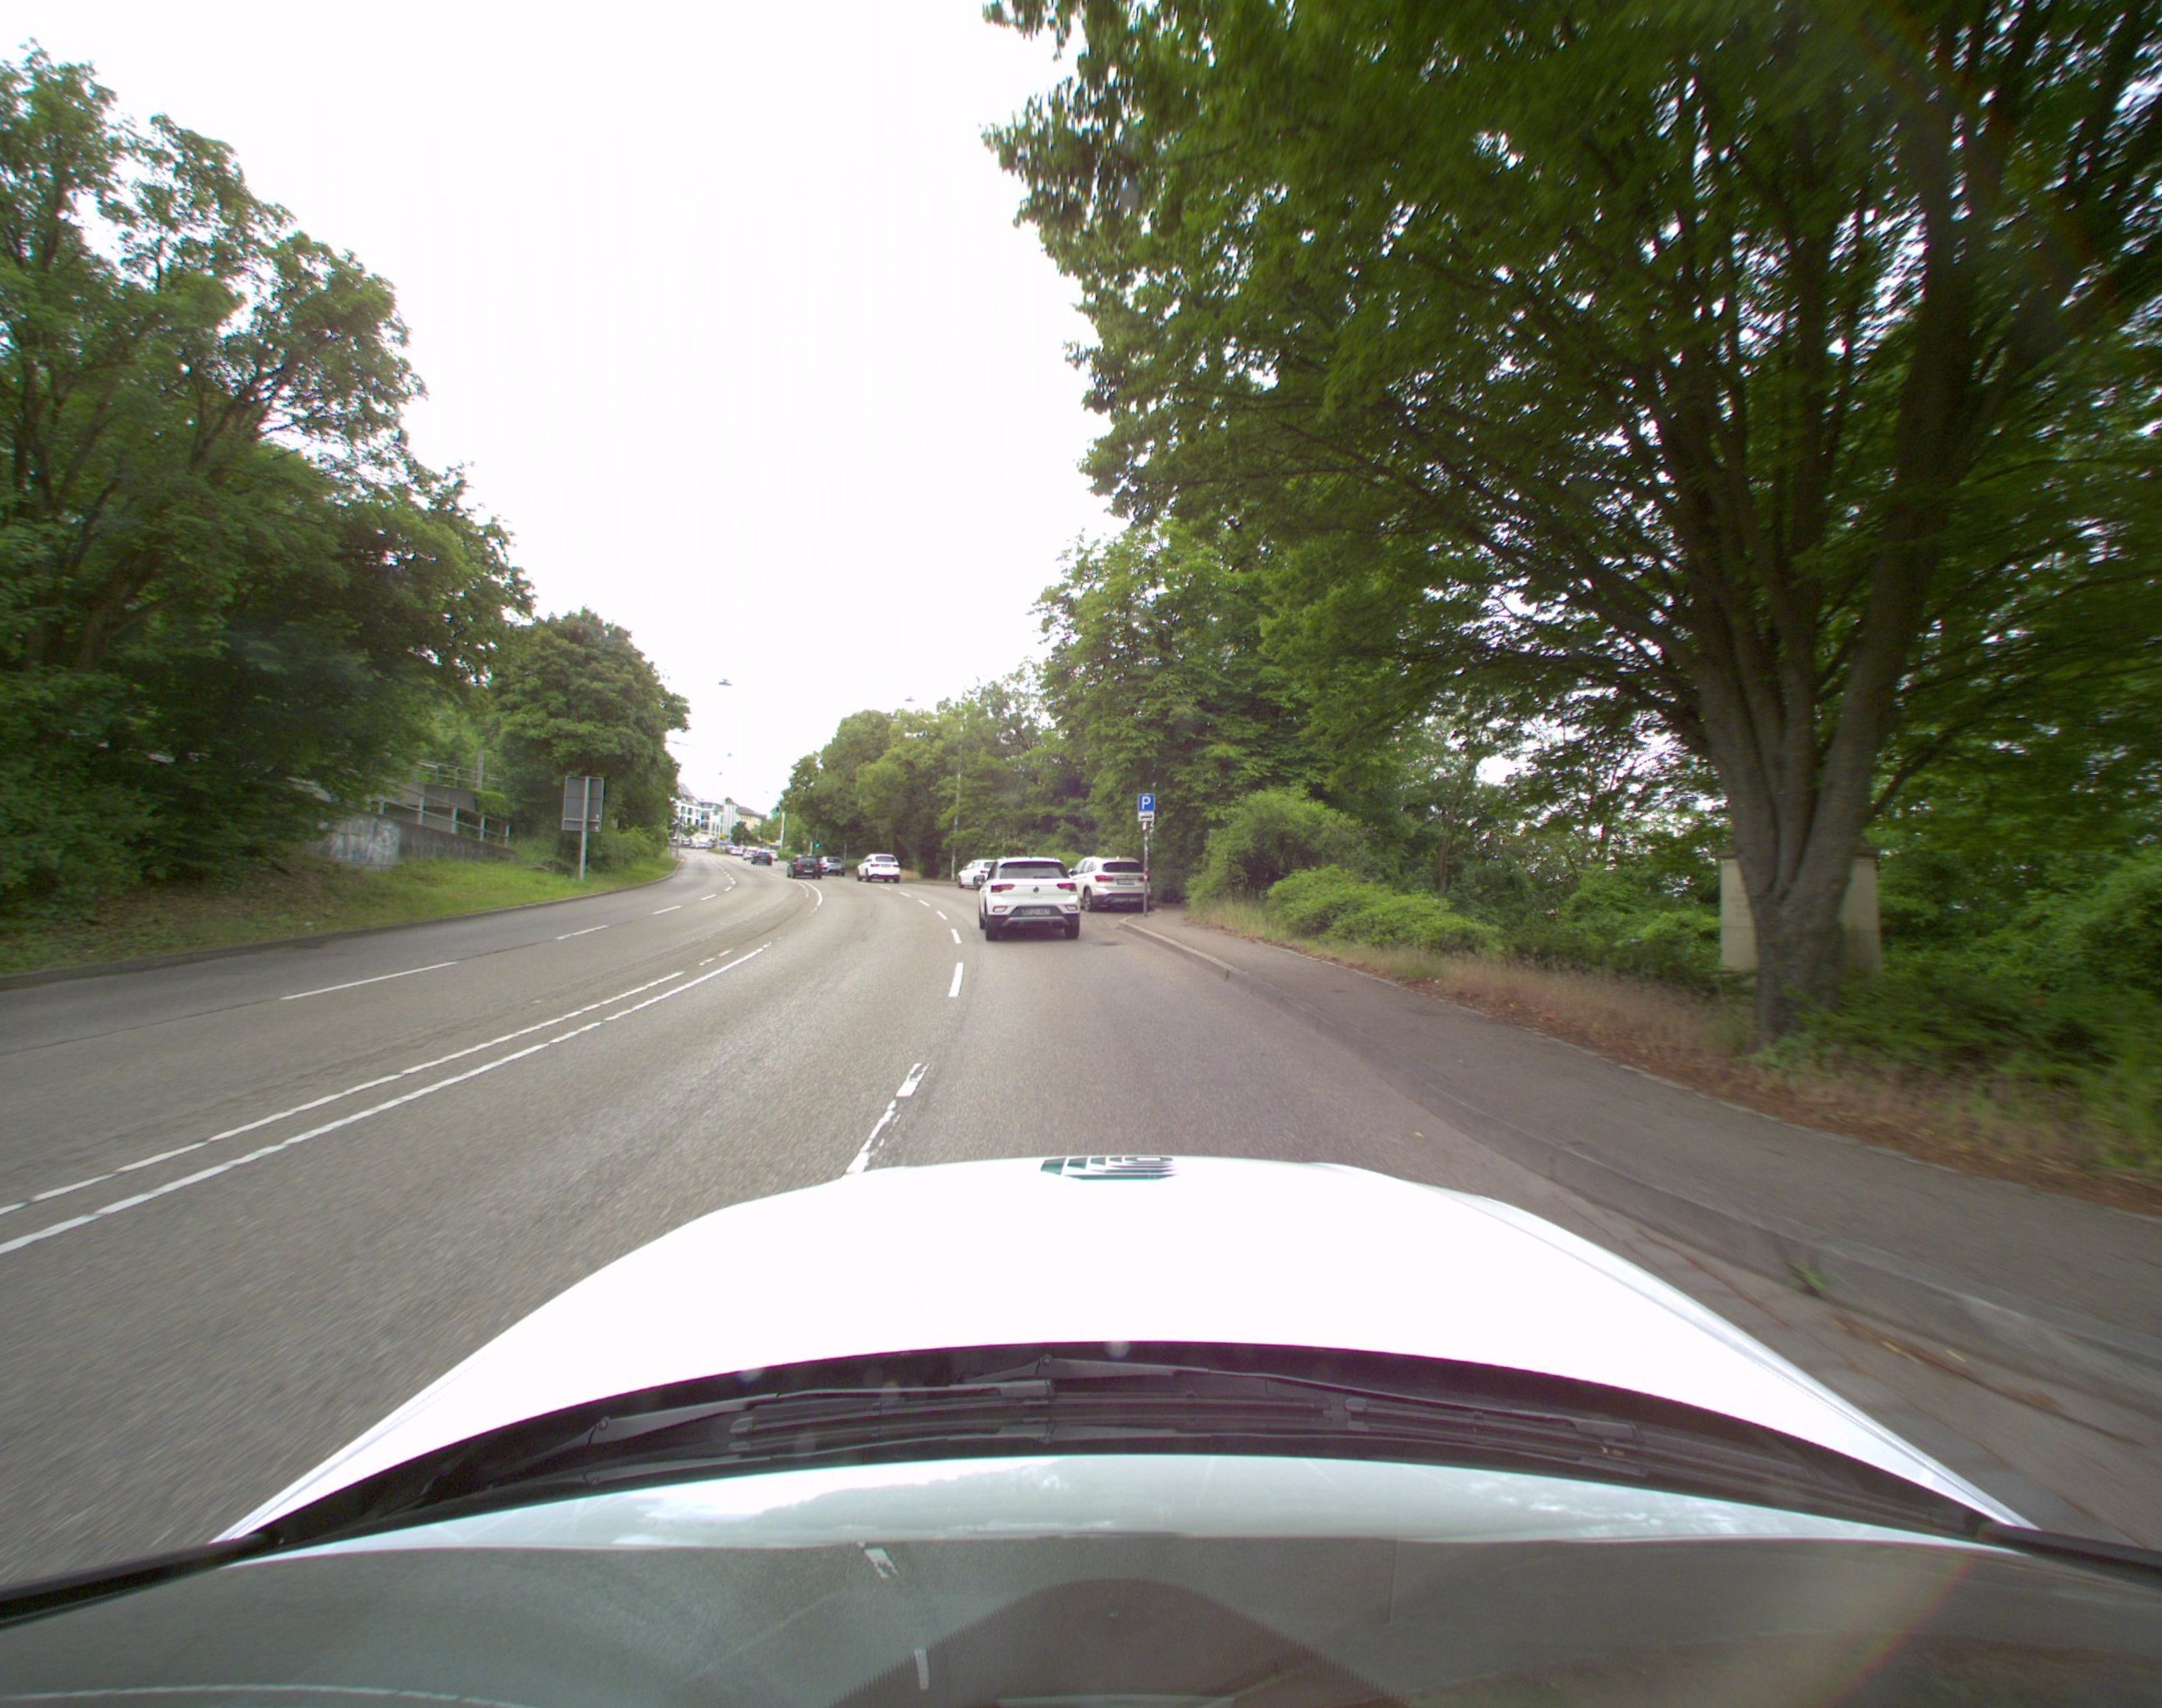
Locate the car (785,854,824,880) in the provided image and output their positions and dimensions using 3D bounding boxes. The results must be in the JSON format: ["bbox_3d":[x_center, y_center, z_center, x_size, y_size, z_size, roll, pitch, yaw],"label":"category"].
[{"bbox_3d":[-17.355,0.790,51.015,1.958,1.466,3.969,3,0,-24],"label":"car"}]

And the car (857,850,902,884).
[{"bbox_3d":[-11.752,0.704,47.369,1.860,1.702,3.969,-1,3,-24],"label":"car"}]

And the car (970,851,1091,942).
[{"bbox_3d":[-1.157,0.754,16.573,2.001,1.596,3.986,0,0,-10],"label":"car"}]

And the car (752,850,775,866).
[{"bbox_3d":[-33.560,0.388,86.143,1.999,1.487,3.976,3,0,-18],"label":"car"}]

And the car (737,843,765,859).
[{"bbox_3d":[-42.882,-0.371,105.838,1.988,2.013,3.997,3,0,-2],"label":"car"}]

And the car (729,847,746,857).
[{"bbox_3d":[-59.136,-0.372,140.249,1.996,1.527,3.982,3,0,-13],"label":"car"}]

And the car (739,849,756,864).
[{"bbox_3d":[-39.171,0.270,95.663,1.717,1.589,3.971,3,0,-22],"label":"car"}]

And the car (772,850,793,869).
[{"bbox_3d":[-28.772,0.533,78.546,1.772,1.606,3.974,3,1,-20],"label":"car"}]

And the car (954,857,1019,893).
[{"bbox_3d":[-4.635,0.956,39.323,1.740,1.482,4.664,3,0,-24],"label":"car"}]

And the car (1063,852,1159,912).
[{"bbox_3d":[0.792,0.780,24.564,1.761,1.652,4.359,0,0,-14],"label":"car"}]
